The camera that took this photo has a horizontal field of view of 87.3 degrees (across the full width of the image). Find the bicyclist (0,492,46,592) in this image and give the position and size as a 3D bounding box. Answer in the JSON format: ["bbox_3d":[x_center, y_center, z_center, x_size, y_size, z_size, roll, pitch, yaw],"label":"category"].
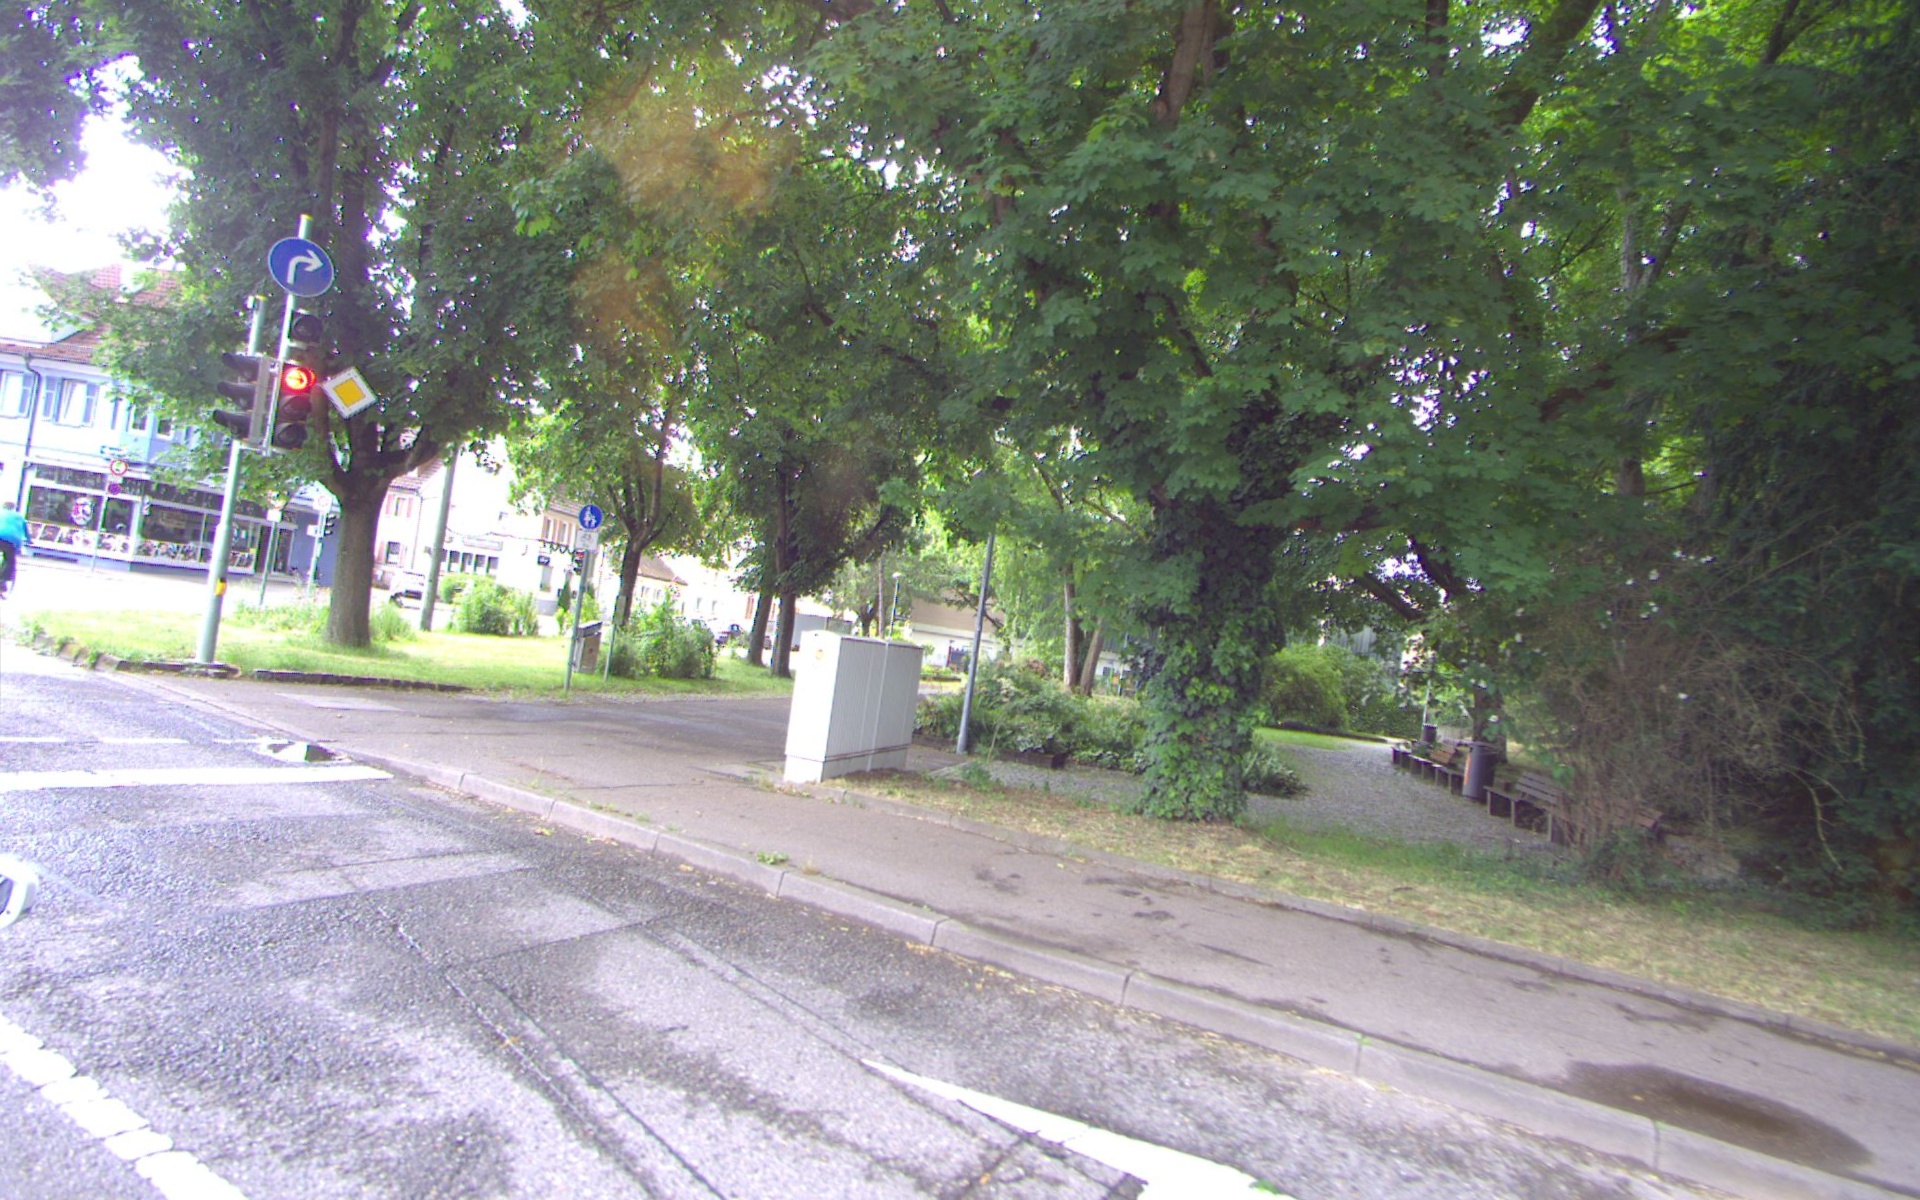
[{"bbox_3d":[-16.913,-1.049,17.735,0.910,1.670,0.979,8,-2,-36],"label":"bicyclist"}]

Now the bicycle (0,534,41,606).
[{"bbox_3d":[-17.102,-0.586,17.830,0.869,1.162,1.934,9,-2,-36],"label":"bicycle"}]

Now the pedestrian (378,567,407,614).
[{"bbox_3d":[-20.689,-0.349,36.691,0.725,1.578,0.763,8,-1,-28],"label":"pedestrian"}]

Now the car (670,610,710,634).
[{"bbox_3d":[-20.243,1.683,75.592,1.736,1.463,3.865,7,-2,2],"label":"car"}]

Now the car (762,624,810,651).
[{"bbox_3d":[-11.439,2.493,66.346,1.618,1.474,3.740,7,-2,13],"label":"car"}]

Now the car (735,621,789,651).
[{"bbox_3d":[-11.816,2.180,60.212,1.618,1.474,3.740,7,-2,13],"label":"car"}]

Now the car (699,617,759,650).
[{"bbox_3d":[-12.639,1.860,55.231,1.618,1.474,3.740,7,-2,13],"label":"car"}]

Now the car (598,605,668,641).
[{"bbox_3d":[-14.341,1.033,44.270,1.436,1.282,3.014,7,-2,13],"label":"car"}]

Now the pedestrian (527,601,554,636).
[{"bbox_3d":[-13.866,0.614,33.248,0.506,1.093,0.507,7,-1,17],"label":"pedestrian"}]

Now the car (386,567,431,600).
[{"bbox_3d":[-29.232,-0.882,53.319,1.871,1.406,3.589,9,-2,-29],"label":"car"}]

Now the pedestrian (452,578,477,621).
[{"bbox_3d":[-19.115,-0.029,38.802,0.688,1.578,0.662,8,-1,-28],"label":"pedestrian"}]

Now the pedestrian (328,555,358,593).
[{"bbox_3d":[-27.949,-1.178,45.551,0.732,1.578,0.673,7,-1,17],"label":"pedestrian"}]
